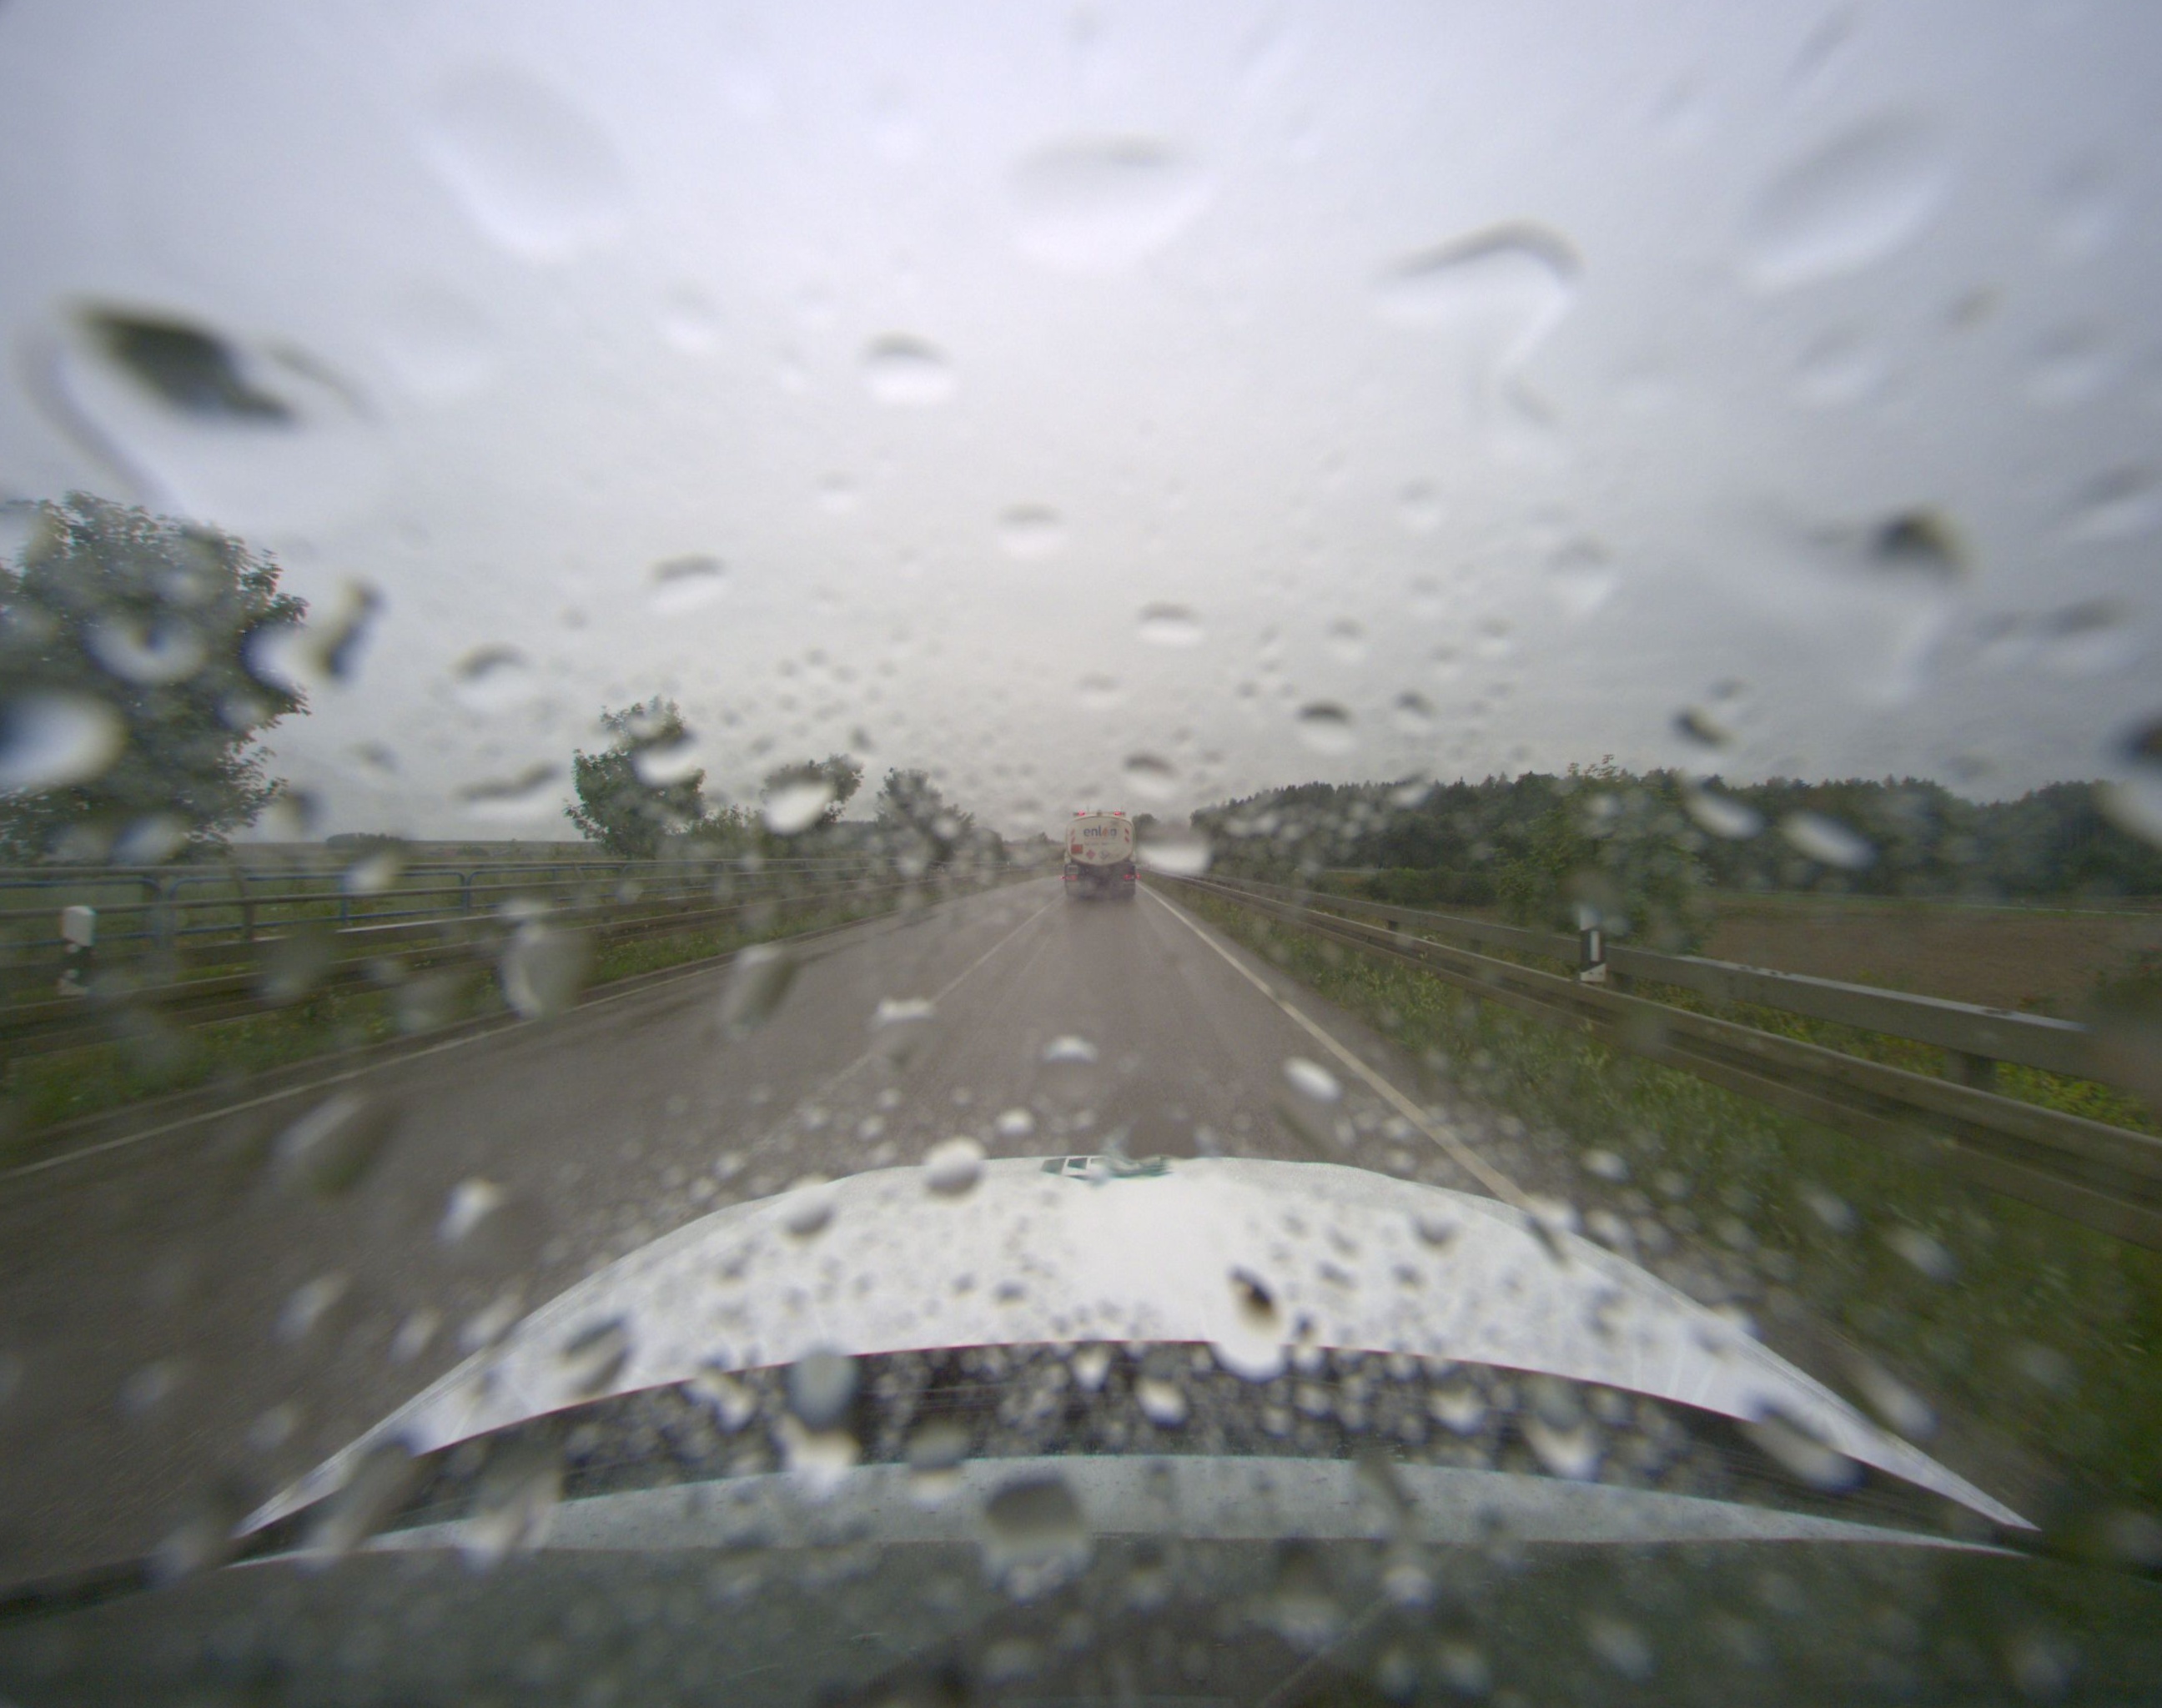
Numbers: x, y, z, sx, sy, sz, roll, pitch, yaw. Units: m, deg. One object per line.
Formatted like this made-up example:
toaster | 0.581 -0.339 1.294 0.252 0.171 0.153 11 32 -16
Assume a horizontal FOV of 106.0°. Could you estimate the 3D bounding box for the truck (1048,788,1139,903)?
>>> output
truck | 0.617 -0.268 31.994 3.027 3.852 8.827 -1 0 2
